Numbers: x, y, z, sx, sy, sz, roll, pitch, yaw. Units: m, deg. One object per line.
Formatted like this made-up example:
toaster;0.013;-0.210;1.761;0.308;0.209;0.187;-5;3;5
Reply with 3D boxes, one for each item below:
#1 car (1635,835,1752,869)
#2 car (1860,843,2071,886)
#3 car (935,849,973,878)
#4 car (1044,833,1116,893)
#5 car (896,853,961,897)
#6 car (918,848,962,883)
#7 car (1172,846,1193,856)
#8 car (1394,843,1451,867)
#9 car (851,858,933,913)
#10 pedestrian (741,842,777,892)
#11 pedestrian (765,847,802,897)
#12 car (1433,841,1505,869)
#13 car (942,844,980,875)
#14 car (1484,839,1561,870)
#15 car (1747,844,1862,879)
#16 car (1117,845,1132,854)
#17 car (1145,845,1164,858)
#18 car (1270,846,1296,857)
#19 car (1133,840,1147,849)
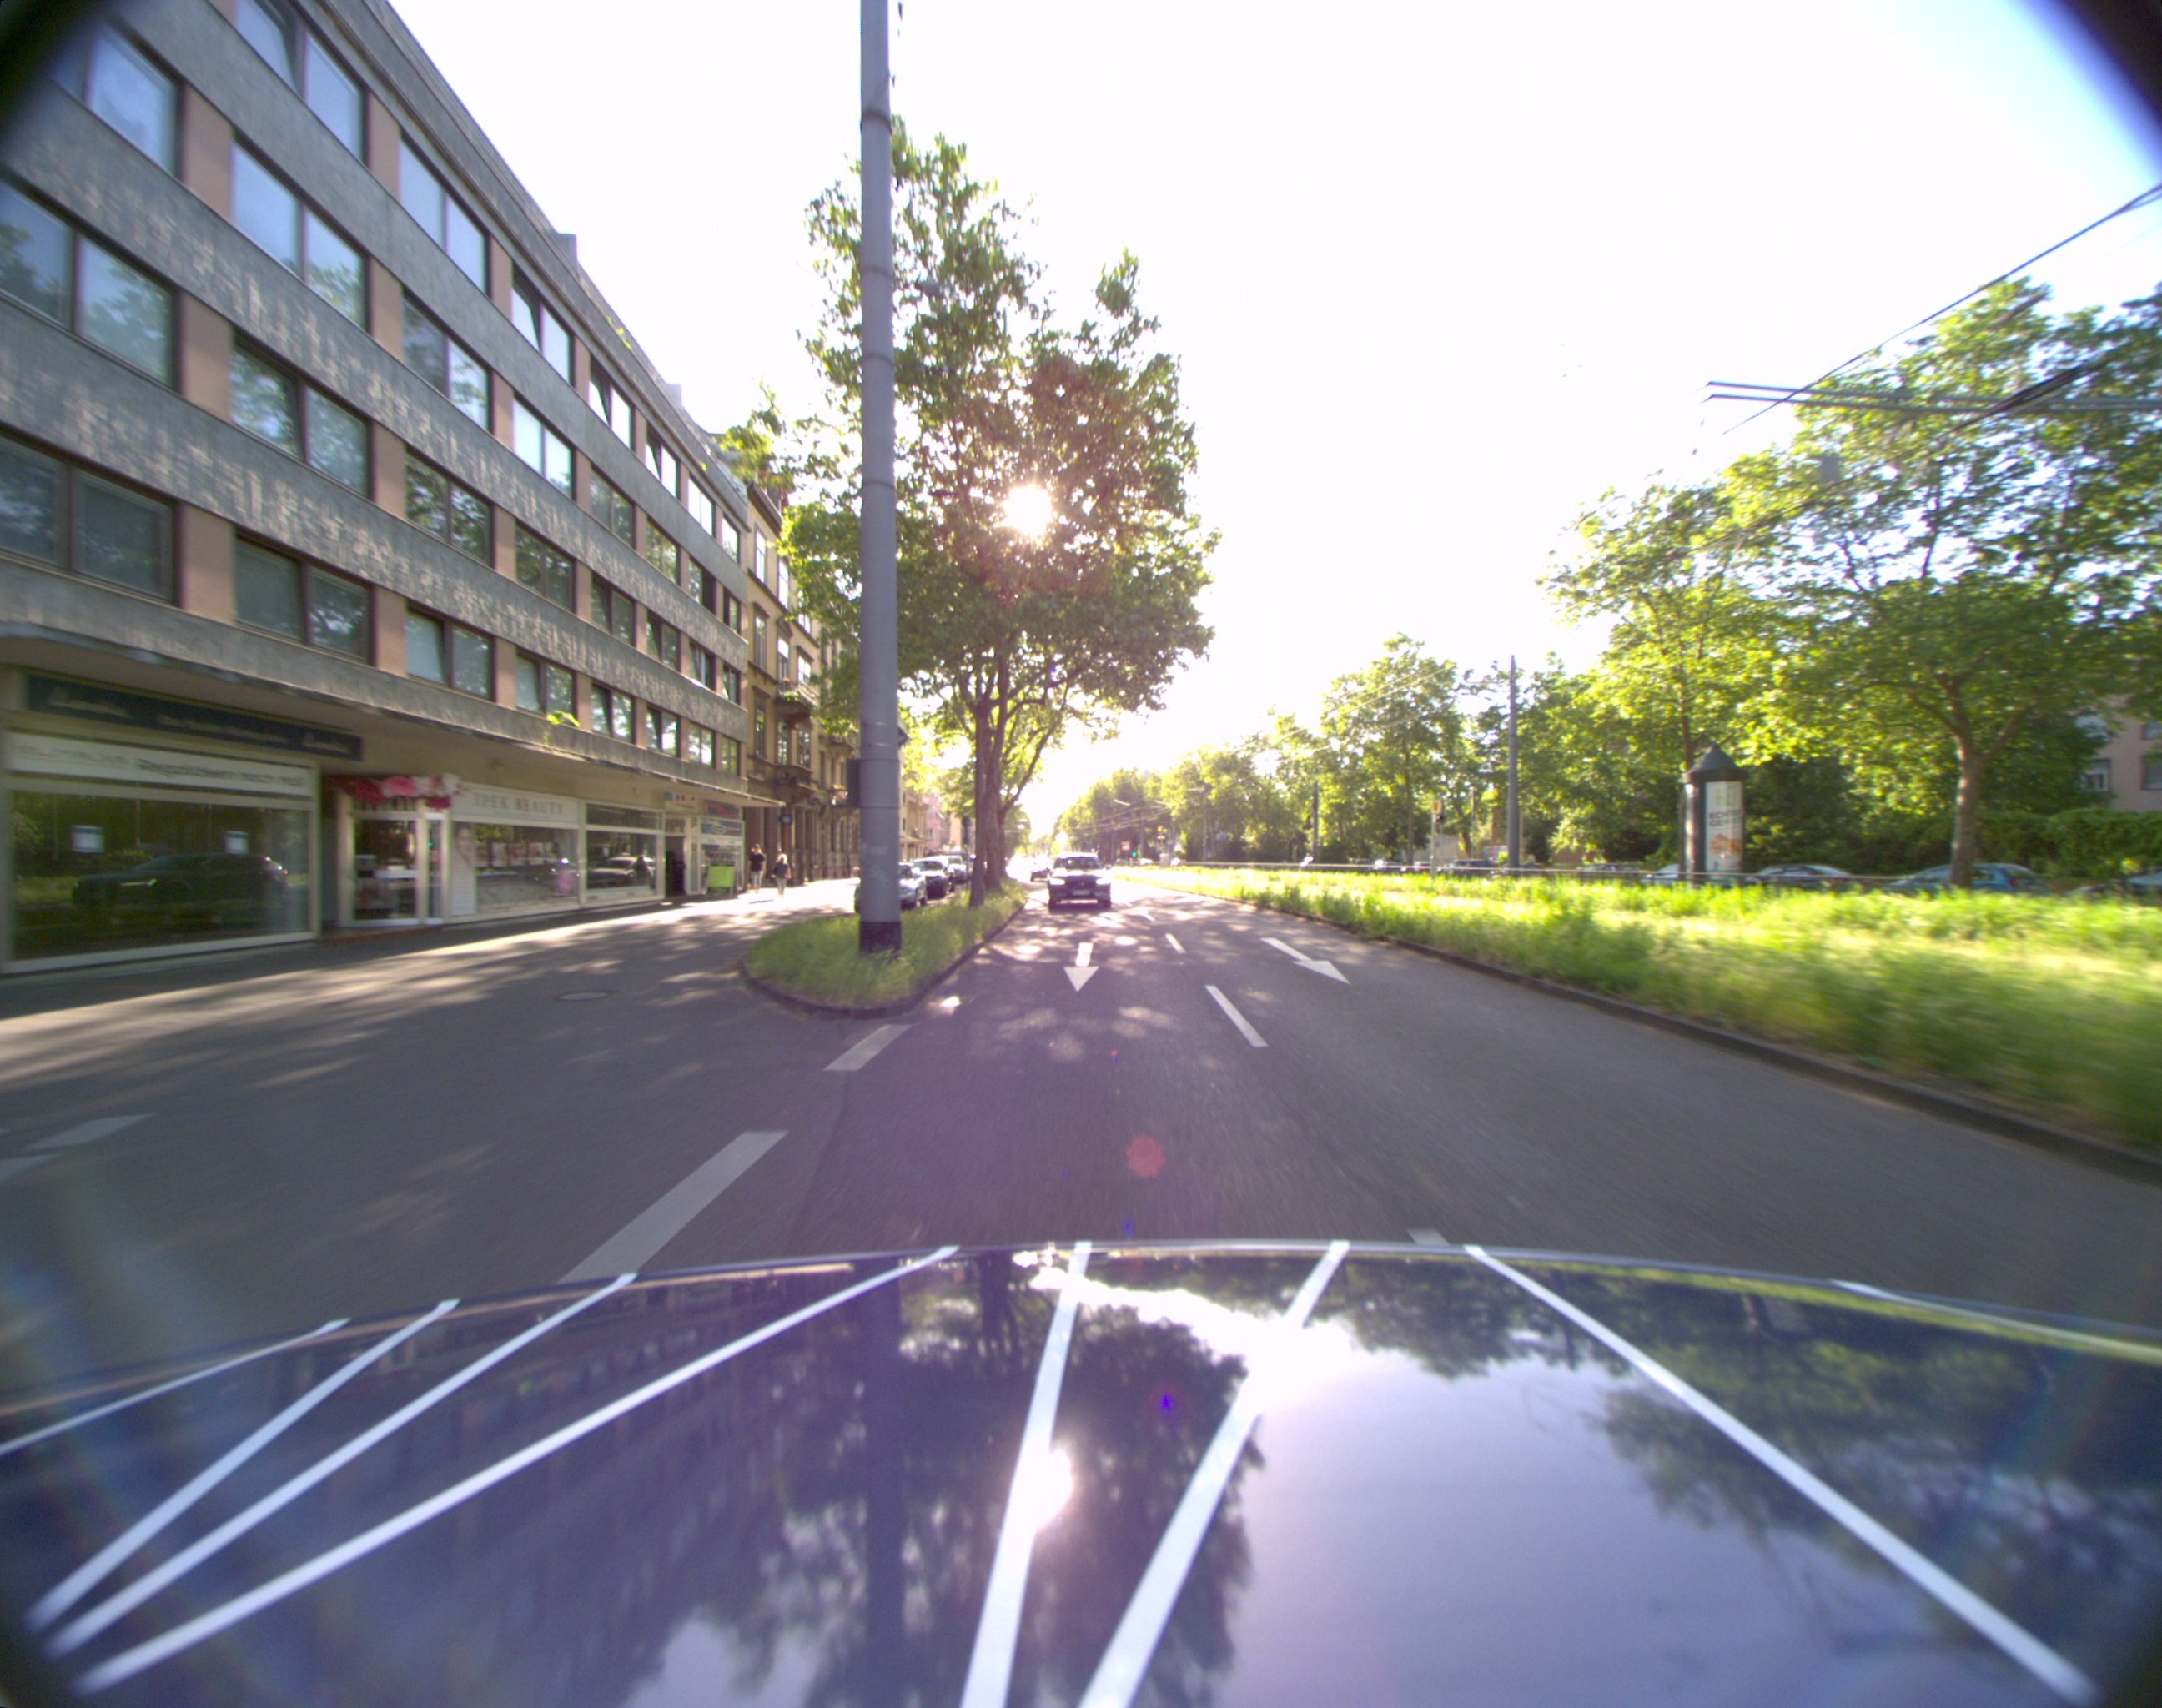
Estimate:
car;26.335;-0.085;32.830;1.774;1.304;3.778;-2;0;-5
car;27.324;0.270;23.700;1.797;1.171;3.997;-2;1;-5
car;-7.208;0.499;43.366;1.709;1.494;4.355;-2;1;-5
car;-0.120;0.251;23.993;1.969;1.664;3.998;-2;0;-3
car;-5.933;0.749;30.076;1.811;1.481;4.917;-2;1;-4
car;-6.795;0.505;36.947;1.682;1.458;4.666;-2;1;-6
car;12.614;-0.336;94.377;1.694;1.128;4.704;-2;0;-4
car;24.827;0.084;55.416;2.000;1.612;3.997;-2;0;-7
car;-5.589;0.863;22.933;1.705;1.416;4.514;-2;0;-6
pedestrian;-12.090;0.482;28.526;1.002;1.829;0.715;-1;1;-3
pedestrian;-10.757;0.633;27.503;1.002;1.750;0.715;-2;1;-4
car;25.398;0.051;49.942;2.000;1.674;4.511;-2;0;-8
car;-7.557;0.331;48.323;1.870;1.805;4.797;-2;0;-4
car;25.797;0.041;44.534;1.827;1.674;3.997;-2;0;-6
car;26.602;0.242;28.039;1.405;1.193;2.843;-1;1;-6
car;7.115;-0.724;124.648;1.850;1.521;3.872;-2;0;-7
car;9.756;-0.355;100.992;1.799;1.543;4.045;-2;0;-5
car;22.185;-0.276;83.716;1.625;1.214;3.761;0;1;-4
car;11.214;-1.720;145.008;1.891;1.610;4.595;-2;0;-6
